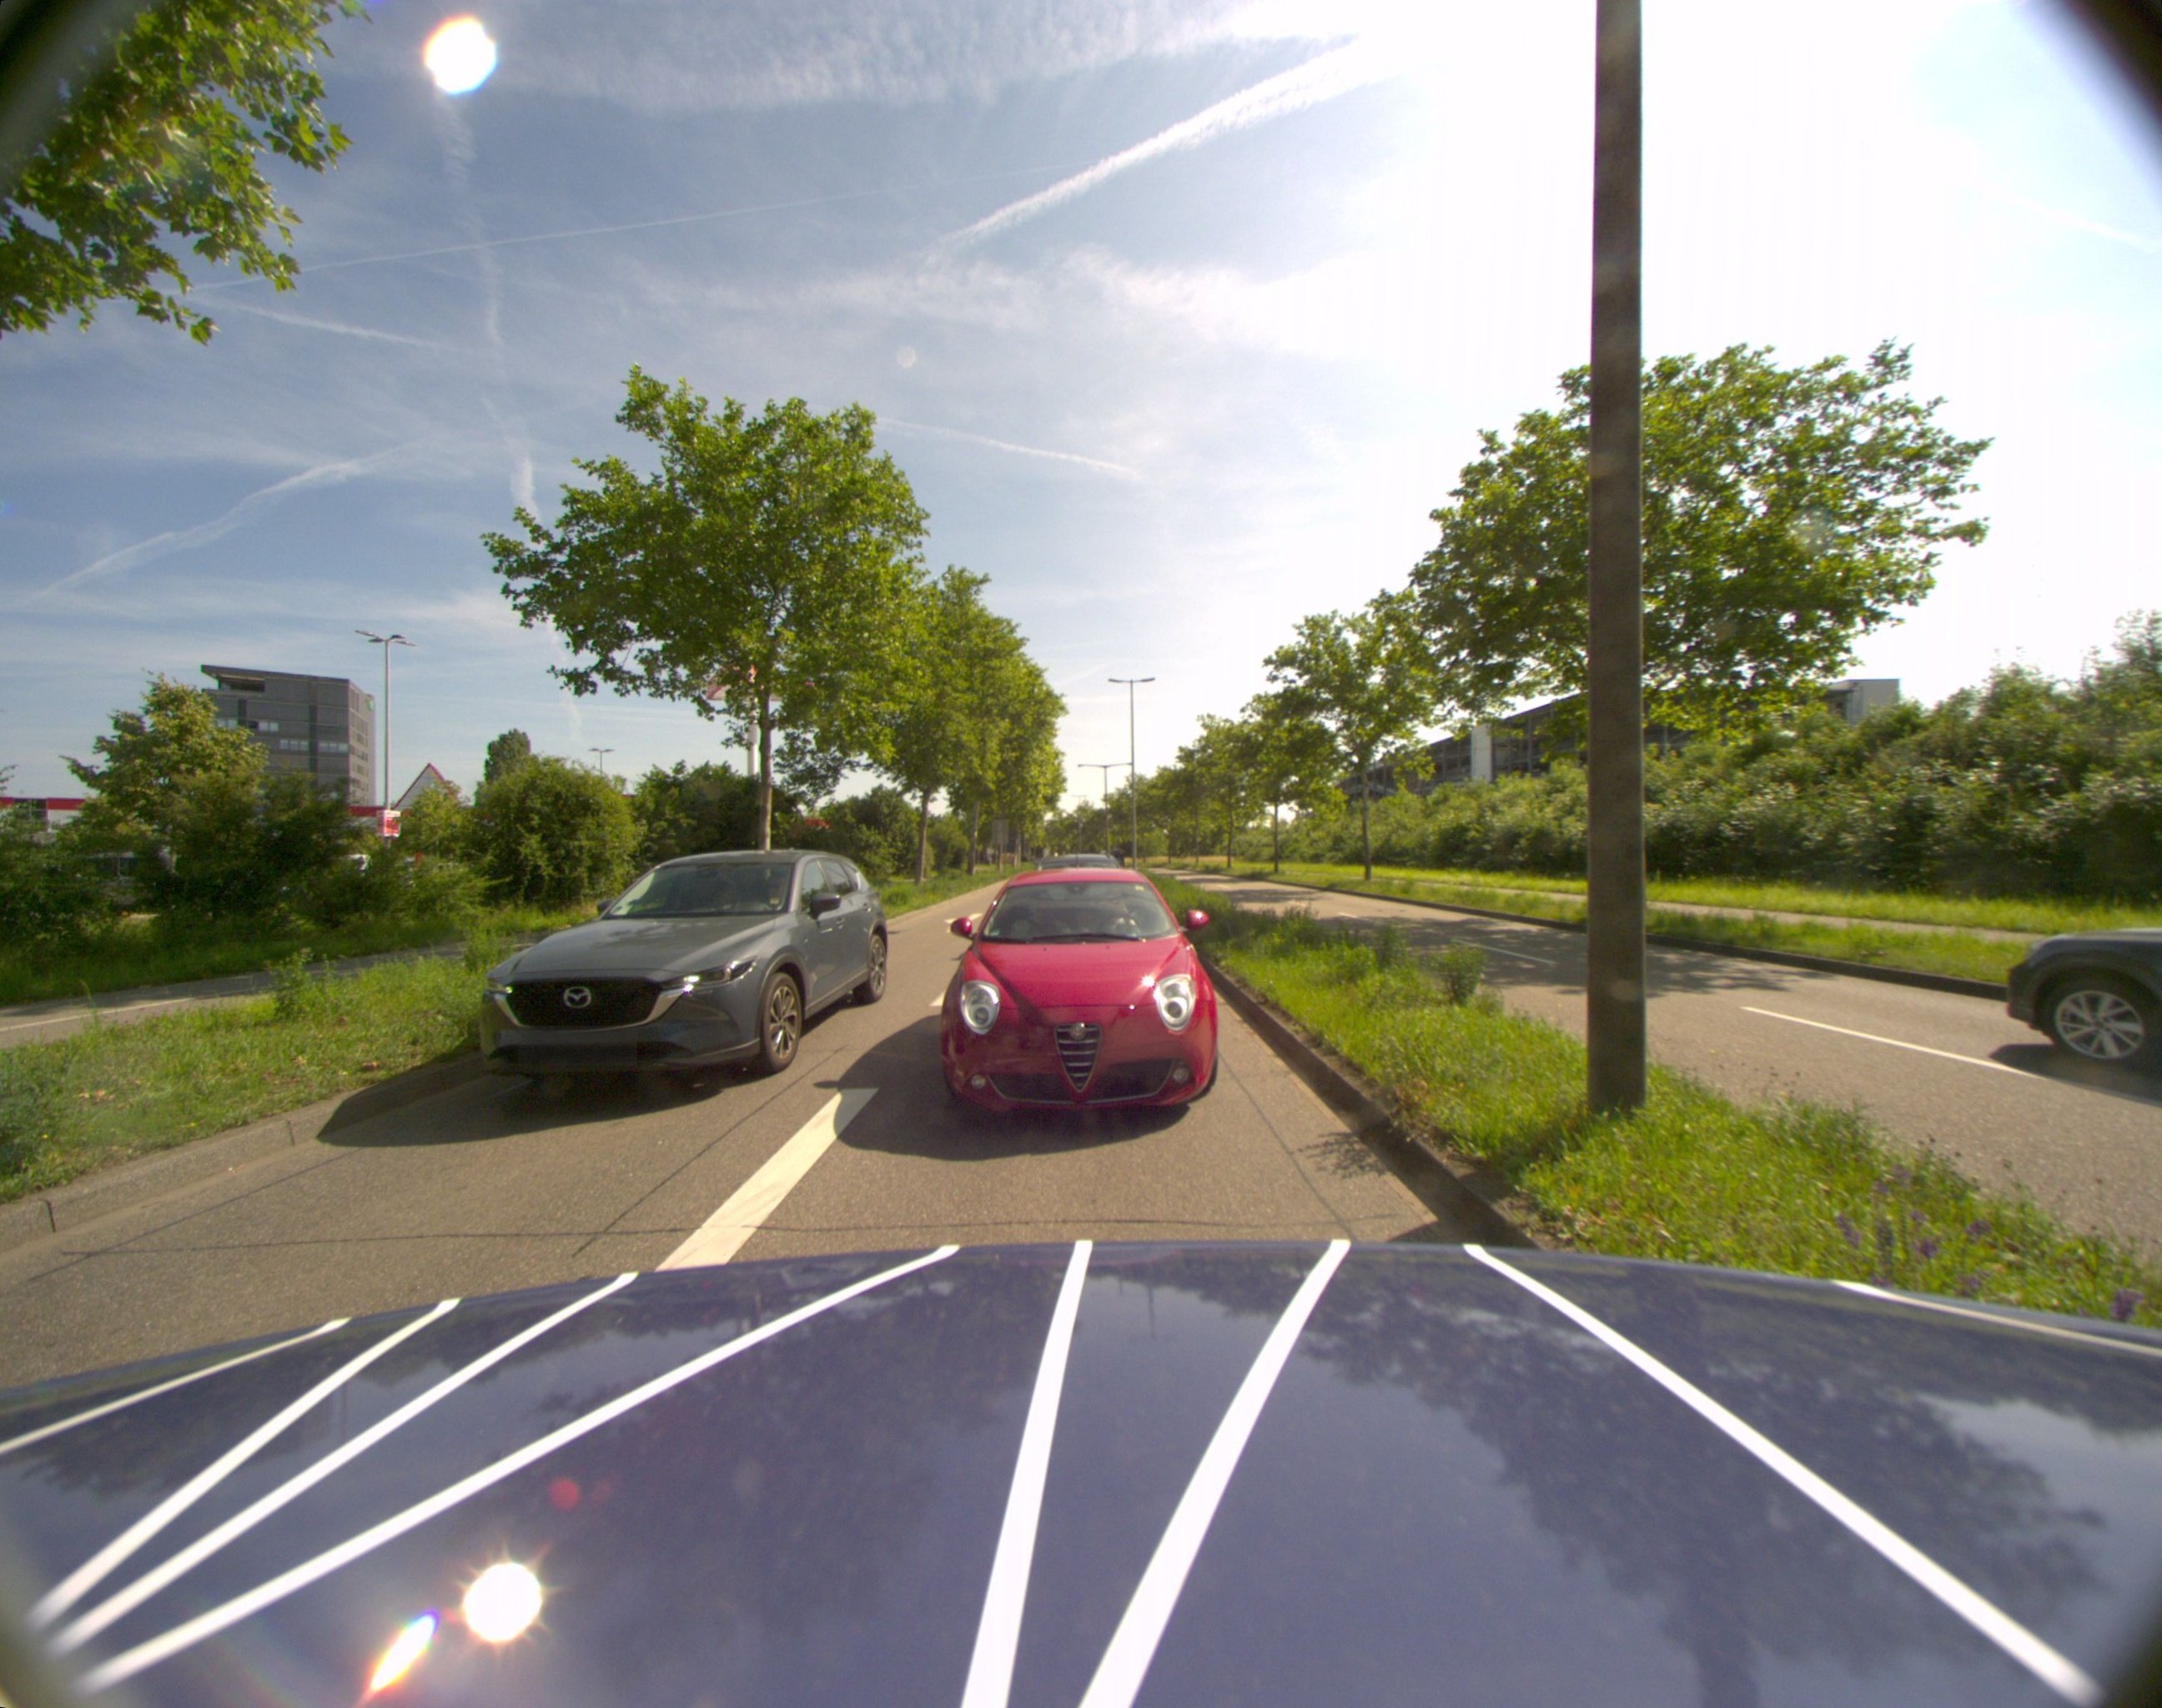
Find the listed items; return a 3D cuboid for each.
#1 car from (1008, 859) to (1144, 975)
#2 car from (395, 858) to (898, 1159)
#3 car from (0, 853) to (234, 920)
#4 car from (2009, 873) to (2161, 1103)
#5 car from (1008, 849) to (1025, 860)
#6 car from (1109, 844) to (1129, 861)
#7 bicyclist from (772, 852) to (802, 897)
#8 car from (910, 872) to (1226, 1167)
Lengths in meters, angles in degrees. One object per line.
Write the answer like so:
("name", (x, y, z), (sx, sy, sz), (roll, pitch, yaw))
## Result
("car", (-0.038, 0.893, 12.646), (1.874, 1.536, 4.081), (-1, 0, 1))
("car", (-3.076, 0.916, 6.685), (1.770, 1.649, 4.495), (-2, 0, 0))
("car", (-25.078, 0.771, 19.694), (3.870, 1.576, 1.844), (-1, 1, -38))
("car", (8.000, 0.906, 3.810), (1.868, 1.459, 3.937), (-1, 1, 0))
("car", (-13.705, 0.134, 161.528), (2.067, 2.396, 5.995), (0, 0, -20))
("car", (5.433, -0.277, 109.640), (2.065, 2.396, 5.536), (0, 0, -5))
("bicyclist", (-10.827, 0.733, 27.986), (0.687, 1.622, 1.002), (0, 1, 1))
("car", (-0.043, 0.948, 6.071), (1.658, 1.430, 3.908), (-2, 0, 1))
